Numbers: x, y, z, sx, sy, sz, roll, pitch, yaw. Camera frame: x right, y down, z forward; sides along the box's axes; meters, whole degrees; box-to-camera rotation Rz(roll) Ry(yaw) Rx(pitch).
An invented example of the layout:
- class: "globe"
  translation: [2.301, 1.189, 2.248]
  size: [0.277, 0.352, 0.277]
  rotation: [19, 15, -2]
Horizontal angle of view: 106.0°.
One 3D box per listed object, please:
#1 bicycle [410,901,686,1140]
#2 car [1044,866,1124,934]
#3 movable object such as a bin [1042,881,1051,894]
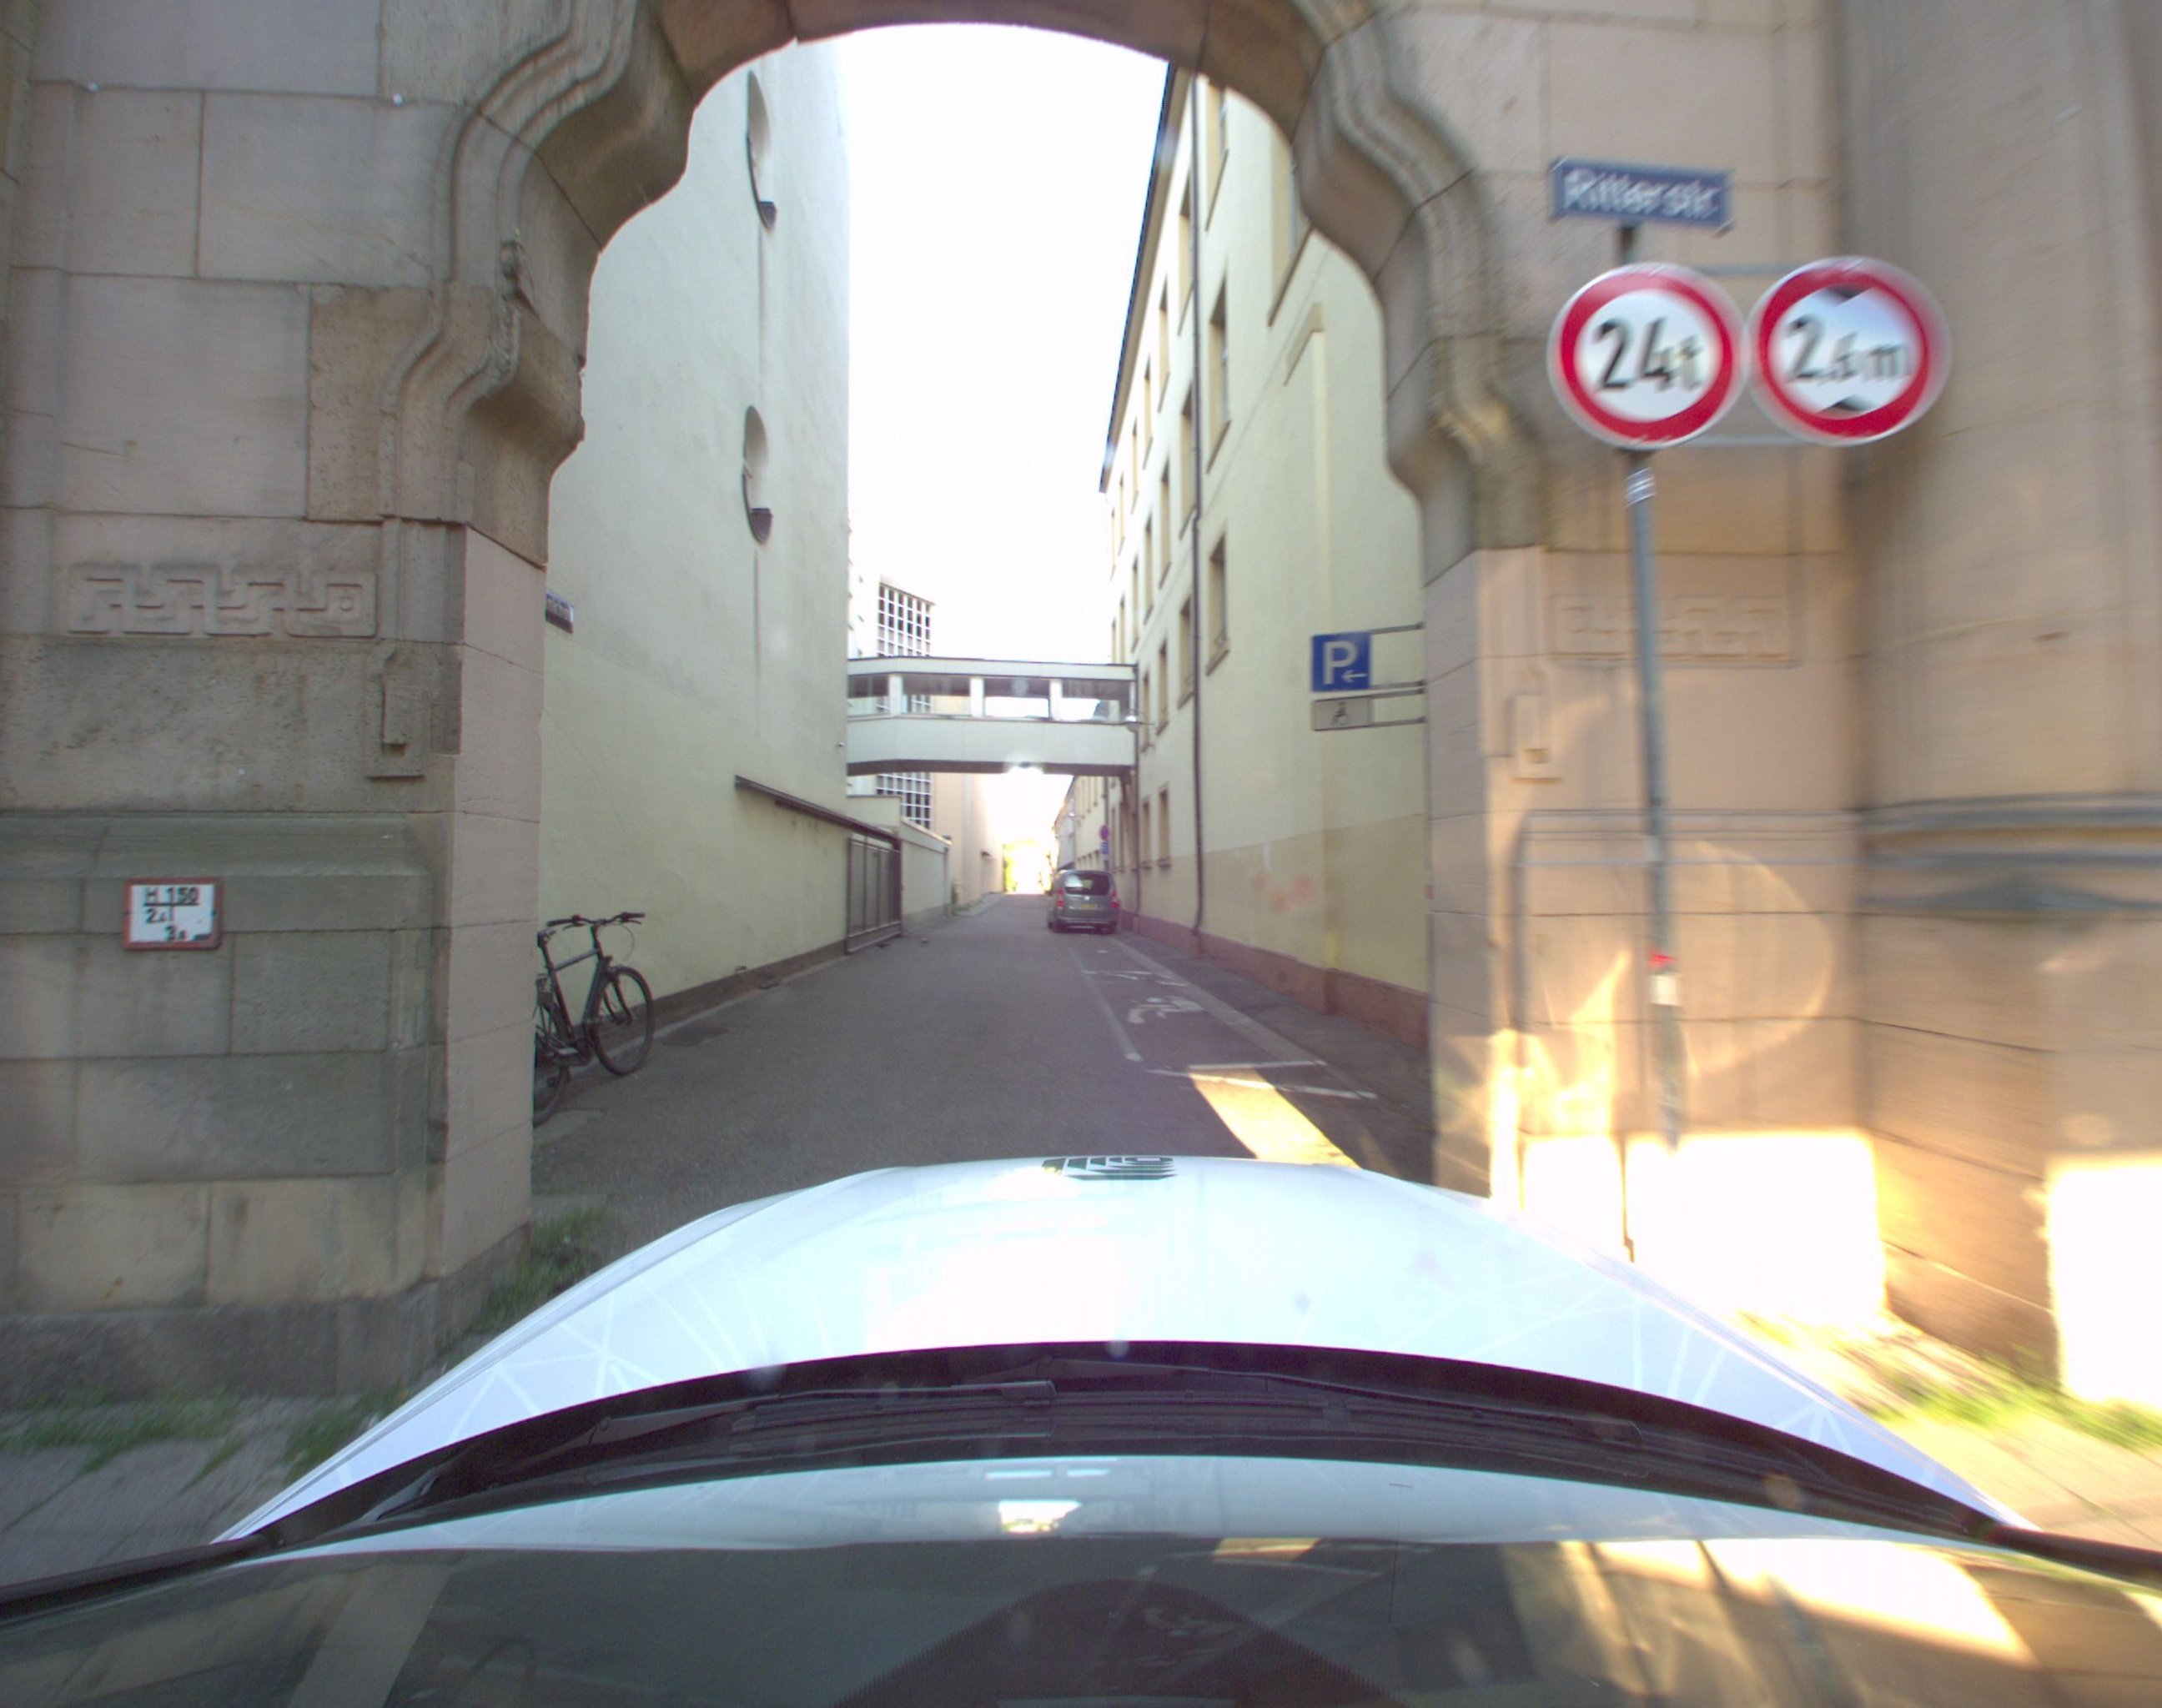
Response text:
- class: "bicycle"
  translation: [-3.061, 0.874, 4.912]
  size: [0.594, 1.079, 1.753]
  rotation: [0, 0, -4]
- class: "car"
  translation: [-0.008, 1.326, 24.381]
  size: [1.853, 1.756, 4.152]
  rotation: [3, -2, -6]
- class: "movable object such as a bin"
  translation: [-4.082, 3.948, 96.186]
  size: [1.105, 1.436, 1.412]
  rotation: [0, 1, -4]
